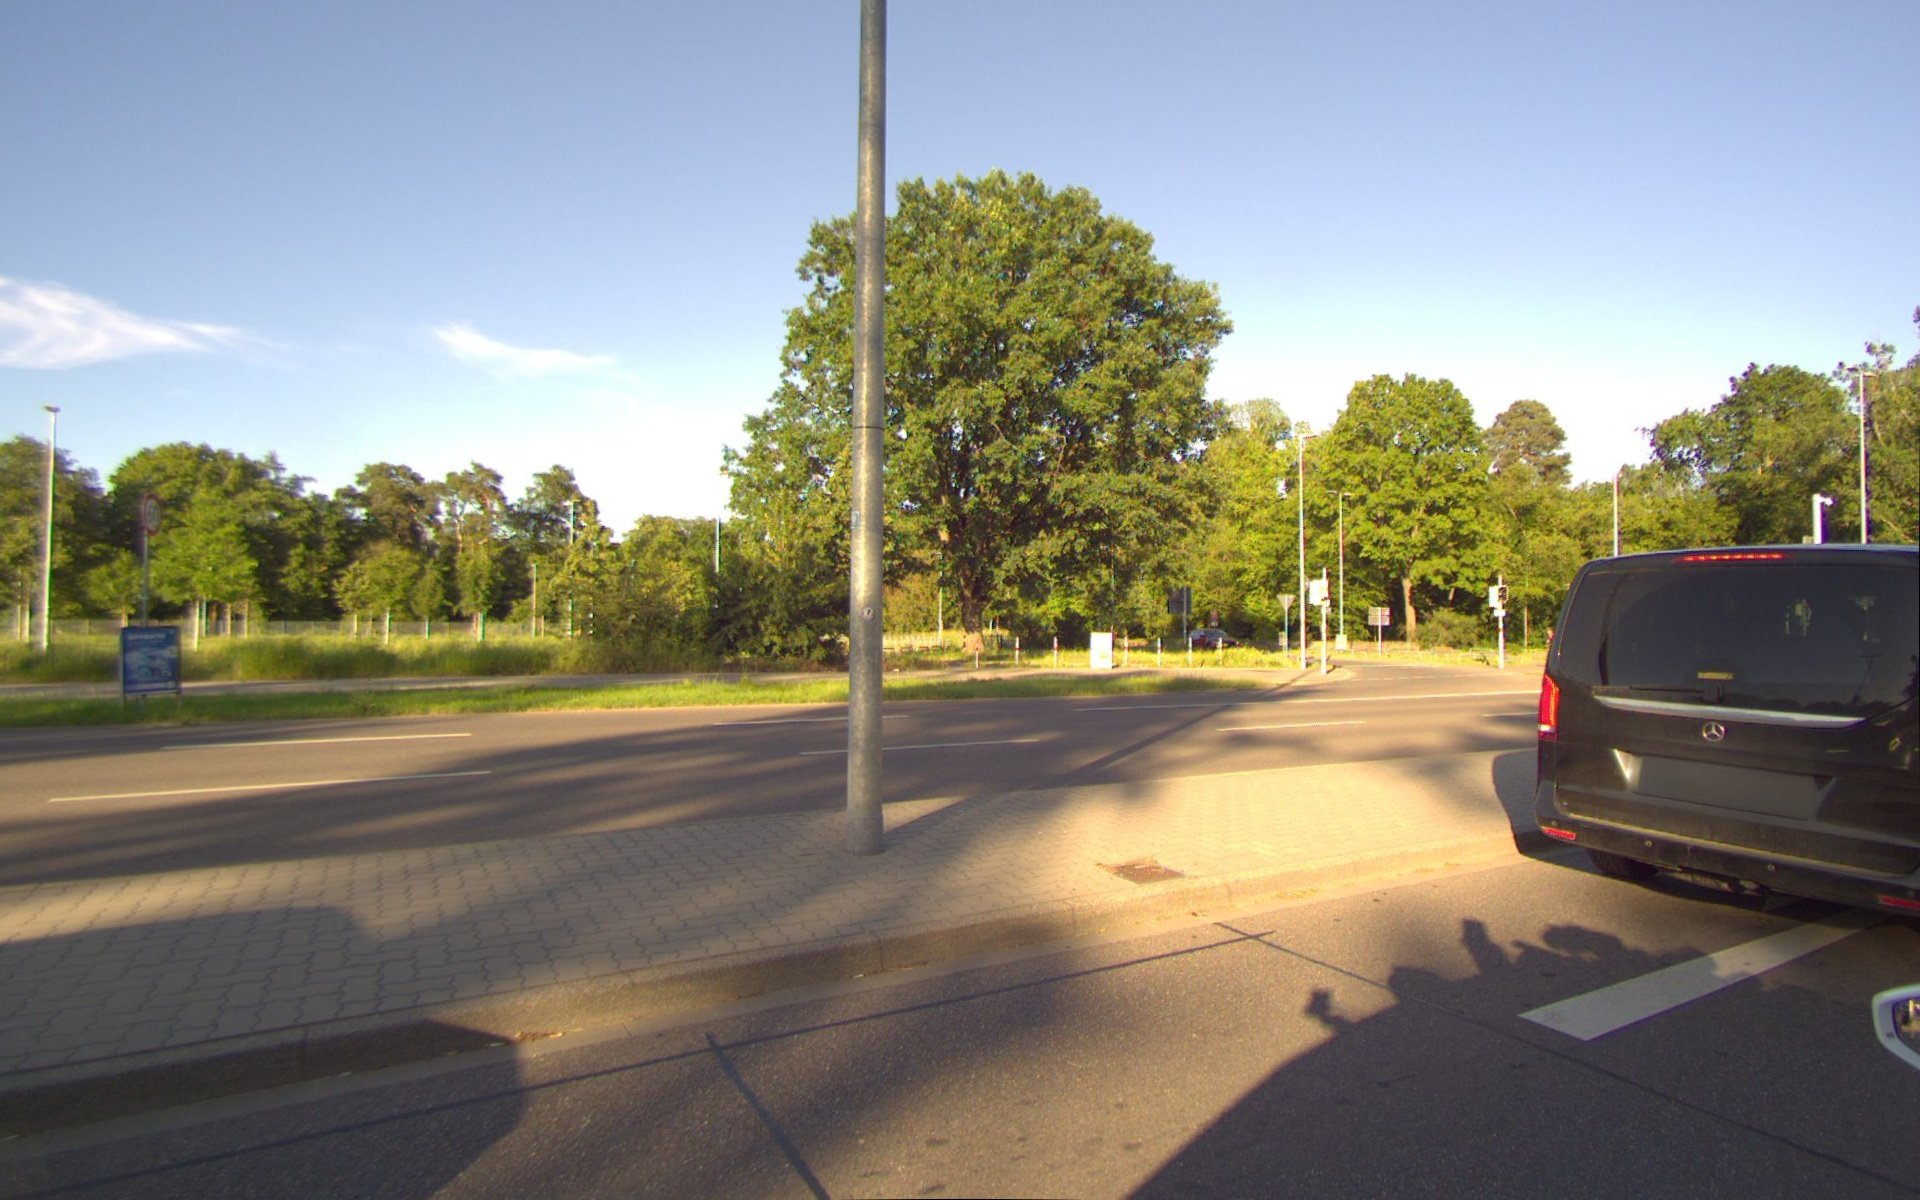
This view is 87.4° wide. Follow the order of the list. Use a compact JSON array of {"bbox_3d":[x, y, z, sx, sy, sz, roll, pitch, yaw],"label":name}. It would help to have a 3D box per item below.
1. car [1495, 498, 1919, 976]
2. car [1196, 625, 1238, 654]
[{"bbox_3d":[5.460,0.572,5.882,4.817,1.881,1.897,1,0,-31],"label":"car"},{"bbox_3d":[15.685,2.381,61.441,1.959,1.639,4.002,2,0,7],"label":"car"}]
